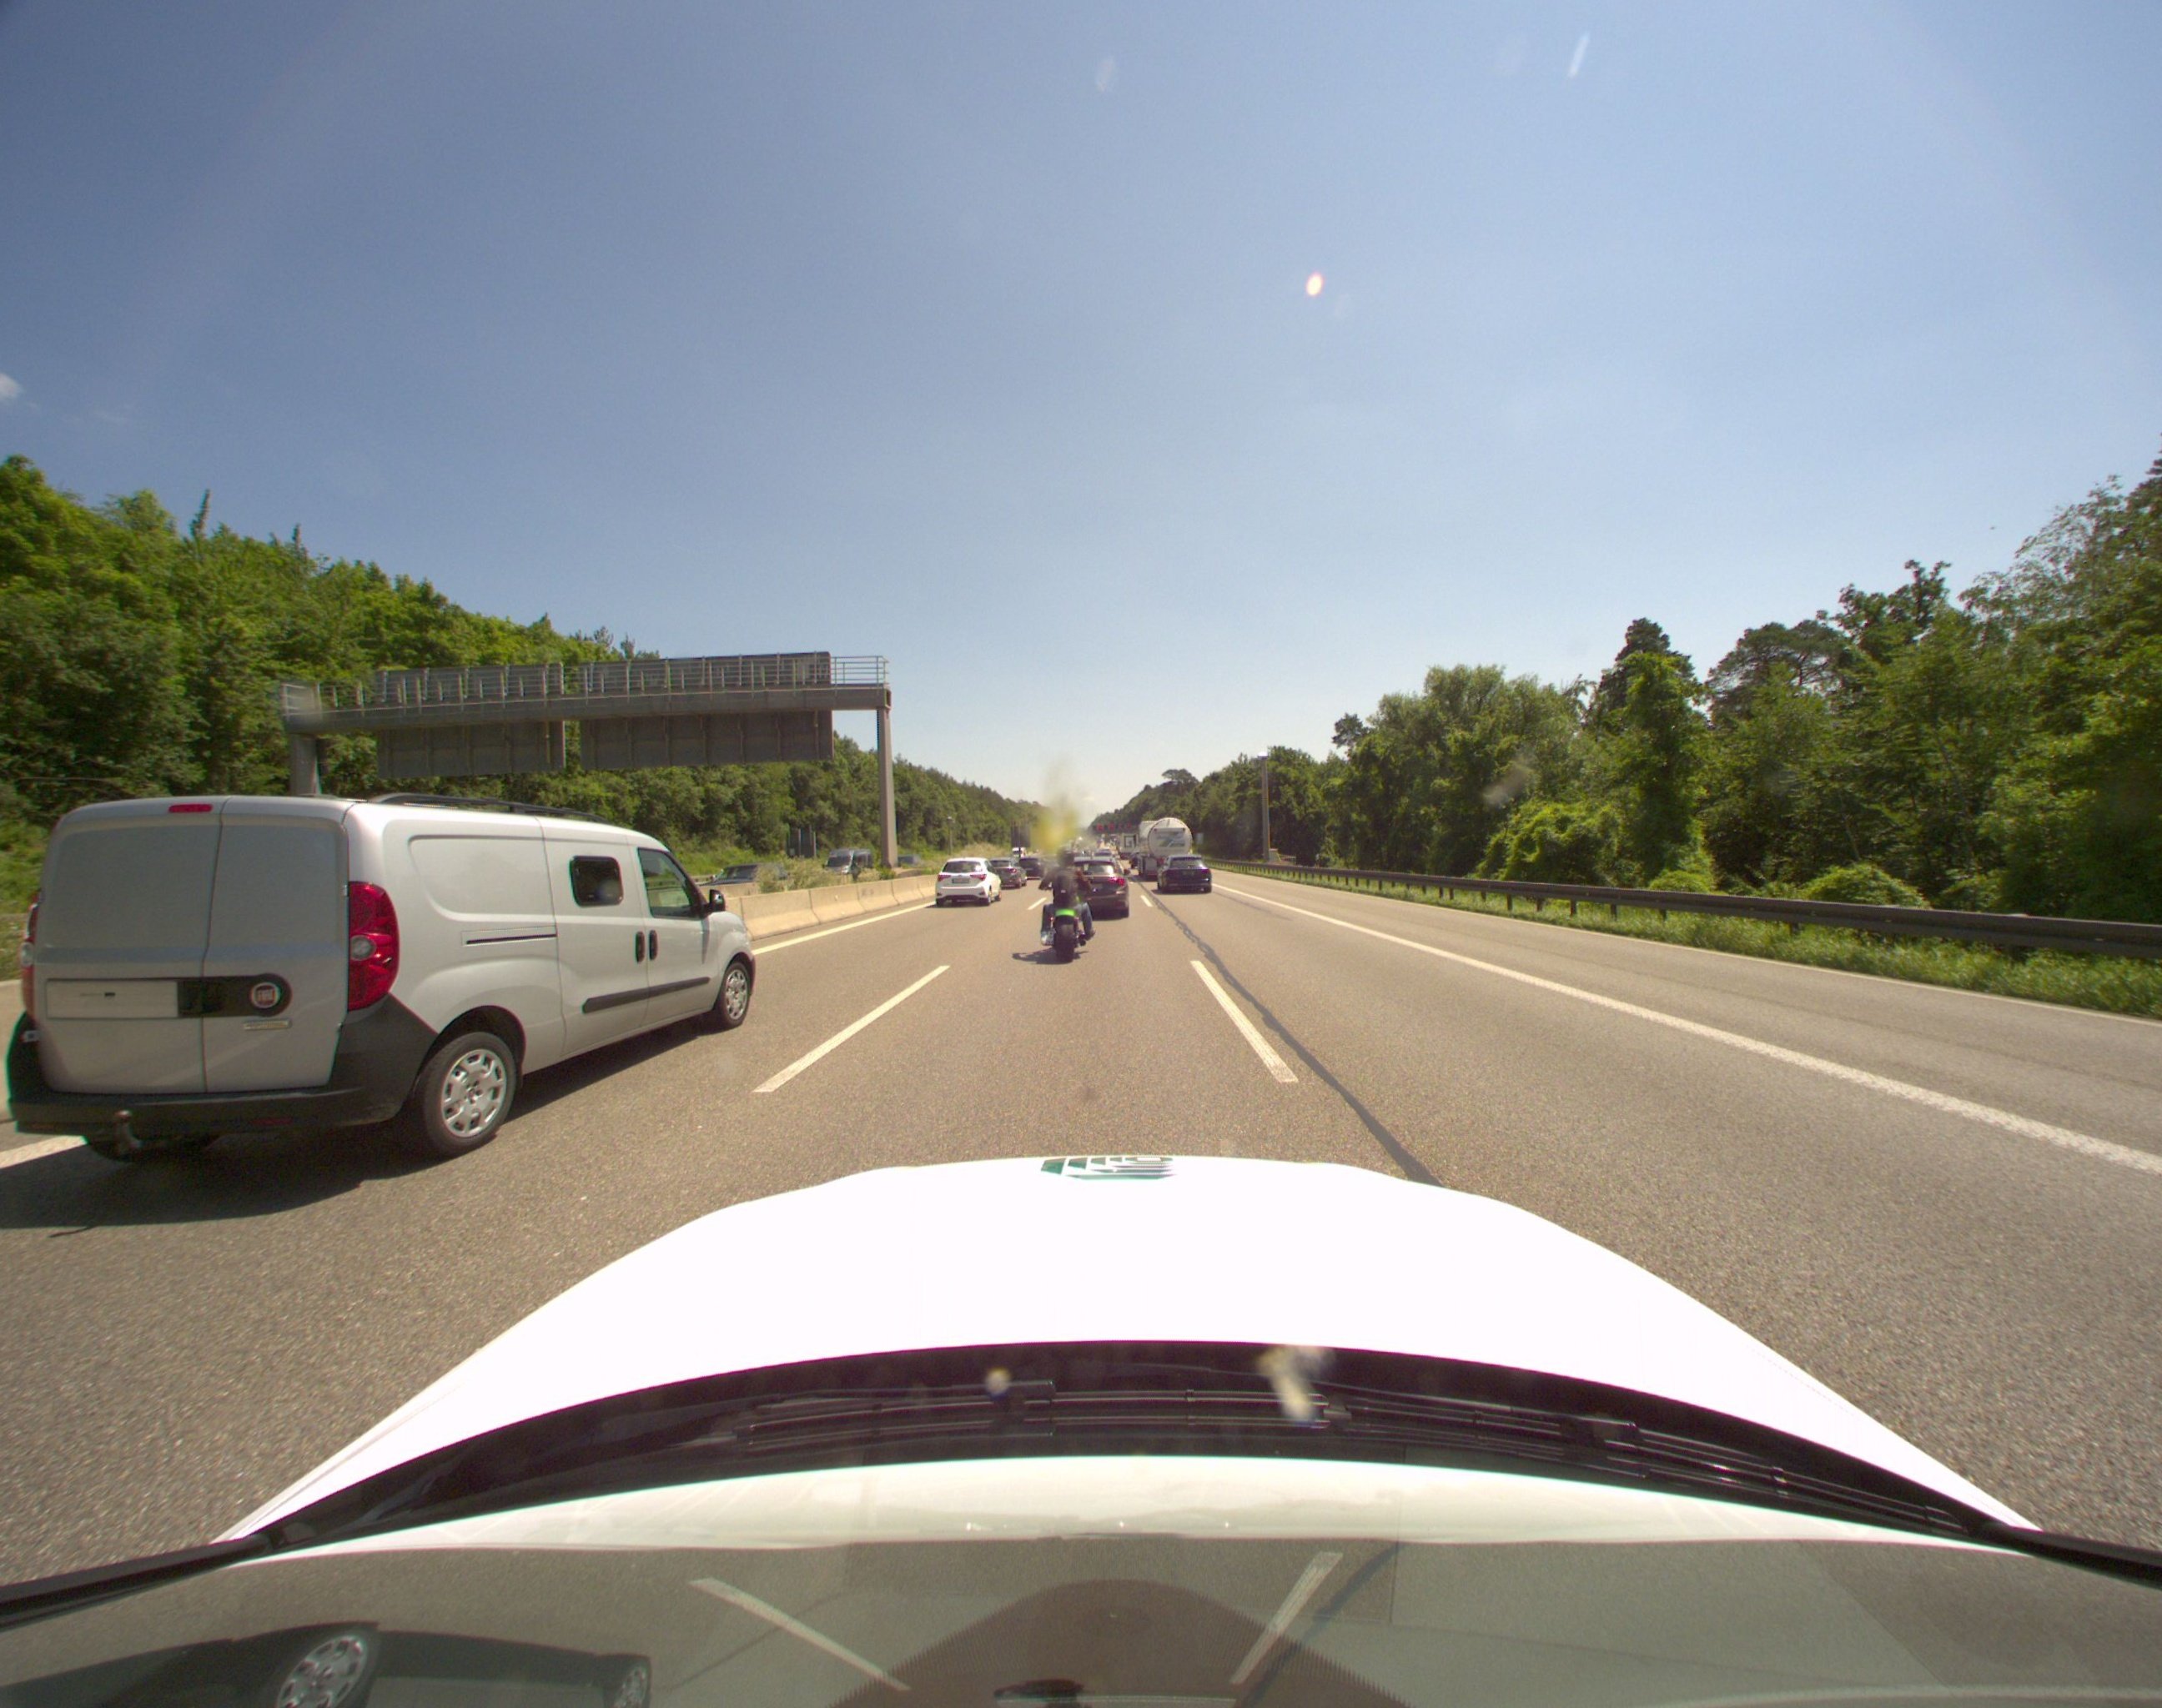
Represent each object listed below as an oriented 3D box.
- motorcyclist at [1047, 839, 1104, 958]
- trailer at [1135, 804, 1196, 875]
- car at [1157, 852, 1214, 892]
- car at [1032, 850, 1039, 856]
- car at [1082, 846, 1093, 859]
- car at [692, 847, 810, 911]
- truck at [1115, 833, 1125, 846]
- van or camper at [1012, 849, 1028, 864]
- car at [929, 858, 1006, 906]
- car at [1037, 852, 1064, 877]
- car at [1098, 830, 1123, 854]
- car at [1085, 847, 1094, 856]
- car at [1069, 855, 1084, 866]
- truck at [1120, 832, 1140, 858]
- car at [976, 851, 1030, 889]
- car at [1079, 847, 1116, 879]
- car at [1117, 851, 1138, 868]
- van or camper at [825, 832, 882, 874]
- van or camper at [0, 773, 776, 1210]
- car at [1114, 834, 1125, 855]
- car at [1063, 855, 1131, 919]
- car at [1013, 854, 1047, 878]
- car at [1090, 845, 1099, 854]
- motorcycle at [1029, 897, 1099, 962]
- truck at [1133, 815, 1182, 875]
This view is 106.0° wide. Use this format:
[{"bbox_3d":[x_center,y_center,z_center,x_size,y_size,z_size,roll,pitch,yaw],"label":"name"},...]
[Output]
[{"bbox_3d":[-0.062,0.648,12.171,0.796,1.688,1.017,-1,-2,2],"label":"motorcyclist"},{"bbox_3d":[4.777,-0.637,47.953,2.817,3.671,10.736,-1,-1,2],"label":"trailer"},{"bbox_3d":[4.045,0.710,32.153,1.785,1.458,4.625,-1,-1,2],"label":"car"},{"bbox_3d":[-14.172,-0.357,253.688,1.986,2.013,4.001,-1,0,1],"label":"car"},{"bbox_3d":[1.090,-0.274,133.008,1.654,1.978,4.002,-1,-1,2],"label":"car"},{"bbox_3d":[-11.412,0.864,28.595,1.987,2.014,5.154,-1,-1,0],"label":"car"},{"bbox_3d":[11.244,-4.169,234.037,2.686,3.405,10.482,-2,-1,2],"label":"truck"},{"bbox_3d":[-10.562,0.471,141.958,2.144,2.423,6.198,-1,-1,2],"label":"van or camper"},{"bbox_3d":[-3.592,0.850,26.434,1.769,1.411,4.002,-1,0,2],"label":"car"},{"bbox_3d":[-2.518,0.918,68.882,1.986,2.014,4.001,-1,-1,1],"label":"car"},{"bbox_3d":[2.369,-0.974,66.943,1.986,1.775,4.000,-1,-1,1],"label":"car"},{"bbox_3d":[1.616,-0.414,152.479,1.654,1.599,4.002,-1,-1,2],"label":"car"},{"bbox_3d":[-0.554,0.859,110.526,1.757,1.442,4.002,-1,0,2],"label":"car"},{"bbox_3d":[7.704,-1.325,127.552,2.840,3.821,7.196,-1,-1,5],"label":"truck"},{"bbox_3d":[-3.639,0.770,38.656,1.986,1.684,4.331,-1,-1,2],"label":"car"},{"bbox_3d":[0.961,0.528,46.244,1.986,1.711,4.000,-1,-1,1],"label":"car"},{"bbox_3d":[4.195,0.524,73.572,1.769,1.527,4.001,-1,-1,2],"label":"car"},{"bbox_3d":[-16.344,-0.016,58.968,2.146,2.859,6.654,-1,-1,1],"label":"van or camper"},{"bbox_3d":[-4.027,0.593,5.810,1.846,1.880,4.563,-1,0,2],"label":"van or camper"},{"bbox_3d":[7.846,-1.882,166.518,2.159,3.893,9.333,-1,-1,2],"label":"car"},{"bbox_3d":[0.434,0.765,20.680,1.535,1.450,4.002,-1,-1,2],"label":"car"},{"bbox_3d":[-3.136,0.760,50.887,1.988,1.464,3.996,-1,-1,-2],"label":"car"},{"bbox_3d":[3.446,-1.128,206.704,1.986,2.014,4.002,-2,-1,2],"label":"car"},{"bbox_3d":[-0.207,1.111,12.448,0.932,0.793,2.300,-1,-1,2],"label":"motorcycle"},{"bbox_3d":[4.989,-0.501,53.906,2.817,3.671,6.431,-1,-1,2],"label":"truck"}]
